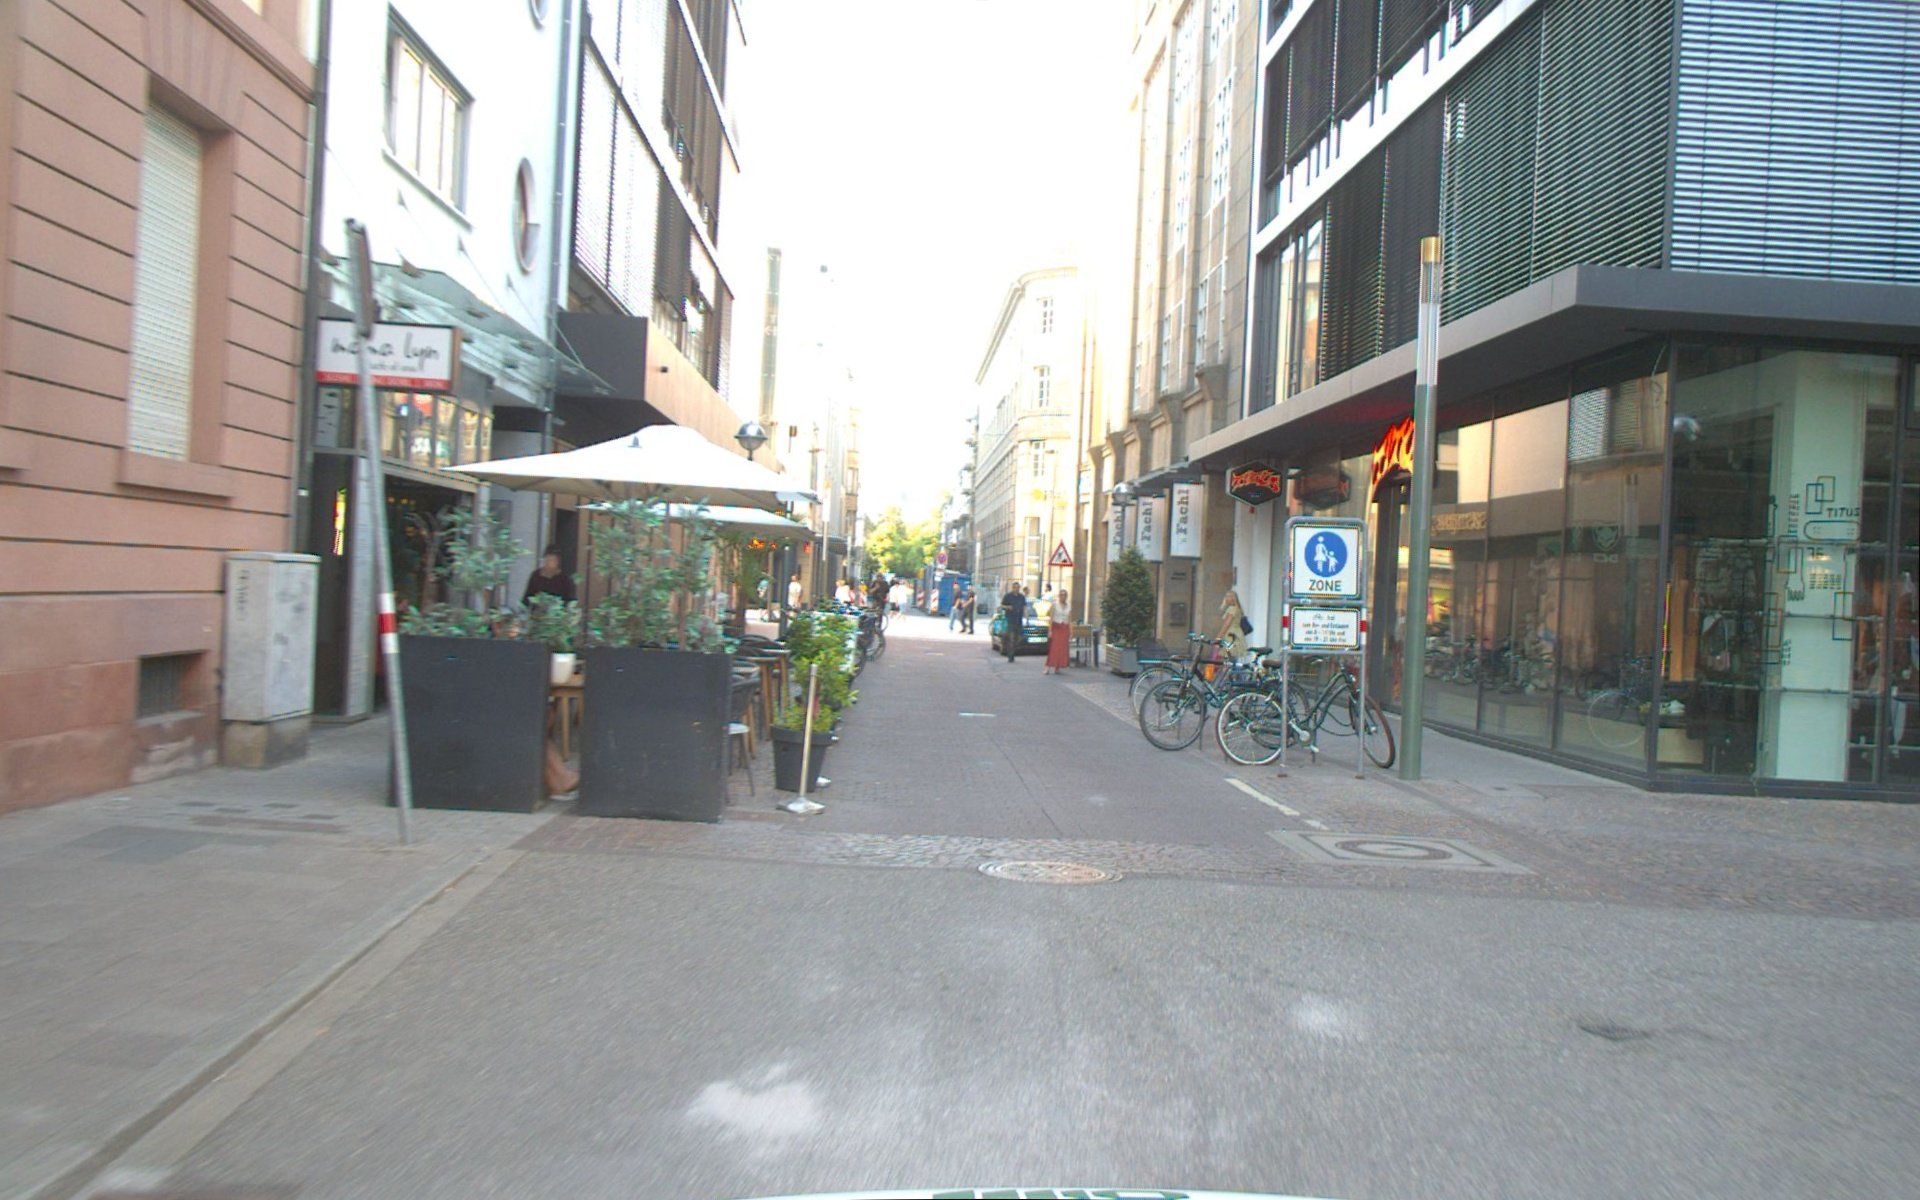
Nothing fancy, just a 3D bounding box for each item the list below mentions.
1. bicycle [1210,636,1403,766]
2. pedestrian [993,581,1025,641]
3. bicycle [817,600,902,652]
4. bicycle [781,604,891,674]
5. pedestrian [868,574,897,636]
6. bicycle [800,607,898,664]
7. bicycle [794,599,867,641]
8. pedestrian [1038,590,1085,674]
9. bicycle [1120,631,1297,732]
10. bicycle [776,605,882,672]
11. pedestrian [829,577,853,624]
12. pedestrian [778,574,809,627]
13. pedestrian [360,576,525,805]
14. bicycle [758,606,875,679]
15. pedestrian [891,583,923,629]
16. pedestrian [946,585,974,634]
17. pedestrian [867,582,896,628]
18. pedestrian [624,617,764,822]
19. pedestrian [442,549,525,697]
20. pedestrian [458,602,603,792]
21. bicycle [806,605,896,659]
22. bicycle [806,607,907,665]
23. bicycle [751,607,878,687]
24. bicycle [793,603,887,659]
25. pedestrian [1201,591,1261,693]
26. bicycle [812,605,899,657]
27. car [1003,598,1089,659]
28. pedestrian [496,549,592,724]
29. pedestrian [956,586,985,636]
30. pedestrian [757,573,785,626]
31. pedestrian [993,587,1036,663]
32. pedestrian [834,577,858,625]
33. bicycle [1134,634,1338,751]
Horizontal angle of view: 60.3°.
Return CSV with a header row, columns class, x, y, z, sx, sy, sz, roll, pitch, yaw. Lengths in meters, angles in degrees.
class,x,y,z,sx,sy,sz,roll,pitch,yaw
bicycle,3.171,0.920,15.194,1.663,1.156,0.467,0,0,-3
pedestrian,1.578,0.345,53.590,0.886,1.891,0.835,2,0,-4
bicycle,-2.482,0.638,40.908,2.007,1.114,0.467,5,0,-3
bicycle,-2.246,0.705,30.177,1.909,1.093,0.467,5,0,-3
pedestrian,-2.421,0.147,51.751,0.816,1.891,0.906,2,0,-4
bicycle,-2.378,0.764,35.560,2.007,1.034,0.467,5,0,-3
bicycle,-3.729,0.569,47.791,2.007,1.030,0.467,5,0,-3
pedestrian,1.972,0.612,32.149,0.781,1.593,0.858,2,0,-2
bicycle,2.905,0.948,19.386,1.993,1.141,0.467,0,0,-3
bicycle,-2.462,0.720,31.231,1.909,1.093,0.467,5,0,-3
pedestrian,-4.907,0.016,67.991,0.886,1.891,0.835,2,0,-3
pedestrian,-6.091,0.003,60.689,1.005,1.891,0.906,2,0,-3
pedestrian,-3.252,0.554,10.456,0.775,1.354,0.673,4,0,-4
bicycle,-2.449,0.730,28.444,1.909,1.093,0.467,5,0,-3
pedestrian,-2.086,0.236,65.147,0.988,1.764,0.982,2,0,12
pedestrian,-0.007,0.340,59.164,0.886,1.690,0.792,2,0,-5
pedestrian,-3.090,0.204,65.337,0.843,1.764,0.934,2,0,12
pedestrian,-1.681,0.743,10.528,0.775,1.204,0.672,4,0,-8
pedestrian,-5.605,0.265,19.447,0.843,1.688,0.795,2,0,-19
pedestrian,-2.917,0.643,11.297,0.775,1.204,0.673,4,0,-4
bicycle,-2.518,0.747,38.364,2.007,1.068,0.467,5,0,-3
bicycle,-2.152,0.743,34.442,2.007,1.034,0.467,5,0,-3
bicycle,-2.288,0.742,26.215,1.909,1.093,0.467,5,0,-3
bicycle,-2.680,0.693,37.068,2.007,1.068,0.467,5,0,-3
pedestrian,4.412,0.671,26.934,0.781,1.593,0.859,2,0,0
bicycle,-2.515,0.744,39.841,2.007,1.068,0.467,5,0,-3
car,2.217,0.719,43.739,1.720,1.466,3.924,2,0,-5
pedestrian,-4.119,0.355,16.418,0.775,1.677,0.724,2,0,-8
pedestrian,0.364,0.381,58.390,0.886,1.690,0.792,2,0,-5
pedestrian,-6.868,-0.019,60.067,0.886,1.891,0.835,2,0,-3
pedestrian,1.248,0.563,38.141,0.881,1.690,0.930,2,0,-1
pedestrian,-4.623,0.027,67.192,0.886,1.891,0.835,2,0,-3
bicycle,2.776,0.925,16.691,1.969,1.141,0.467,0,0,-3
